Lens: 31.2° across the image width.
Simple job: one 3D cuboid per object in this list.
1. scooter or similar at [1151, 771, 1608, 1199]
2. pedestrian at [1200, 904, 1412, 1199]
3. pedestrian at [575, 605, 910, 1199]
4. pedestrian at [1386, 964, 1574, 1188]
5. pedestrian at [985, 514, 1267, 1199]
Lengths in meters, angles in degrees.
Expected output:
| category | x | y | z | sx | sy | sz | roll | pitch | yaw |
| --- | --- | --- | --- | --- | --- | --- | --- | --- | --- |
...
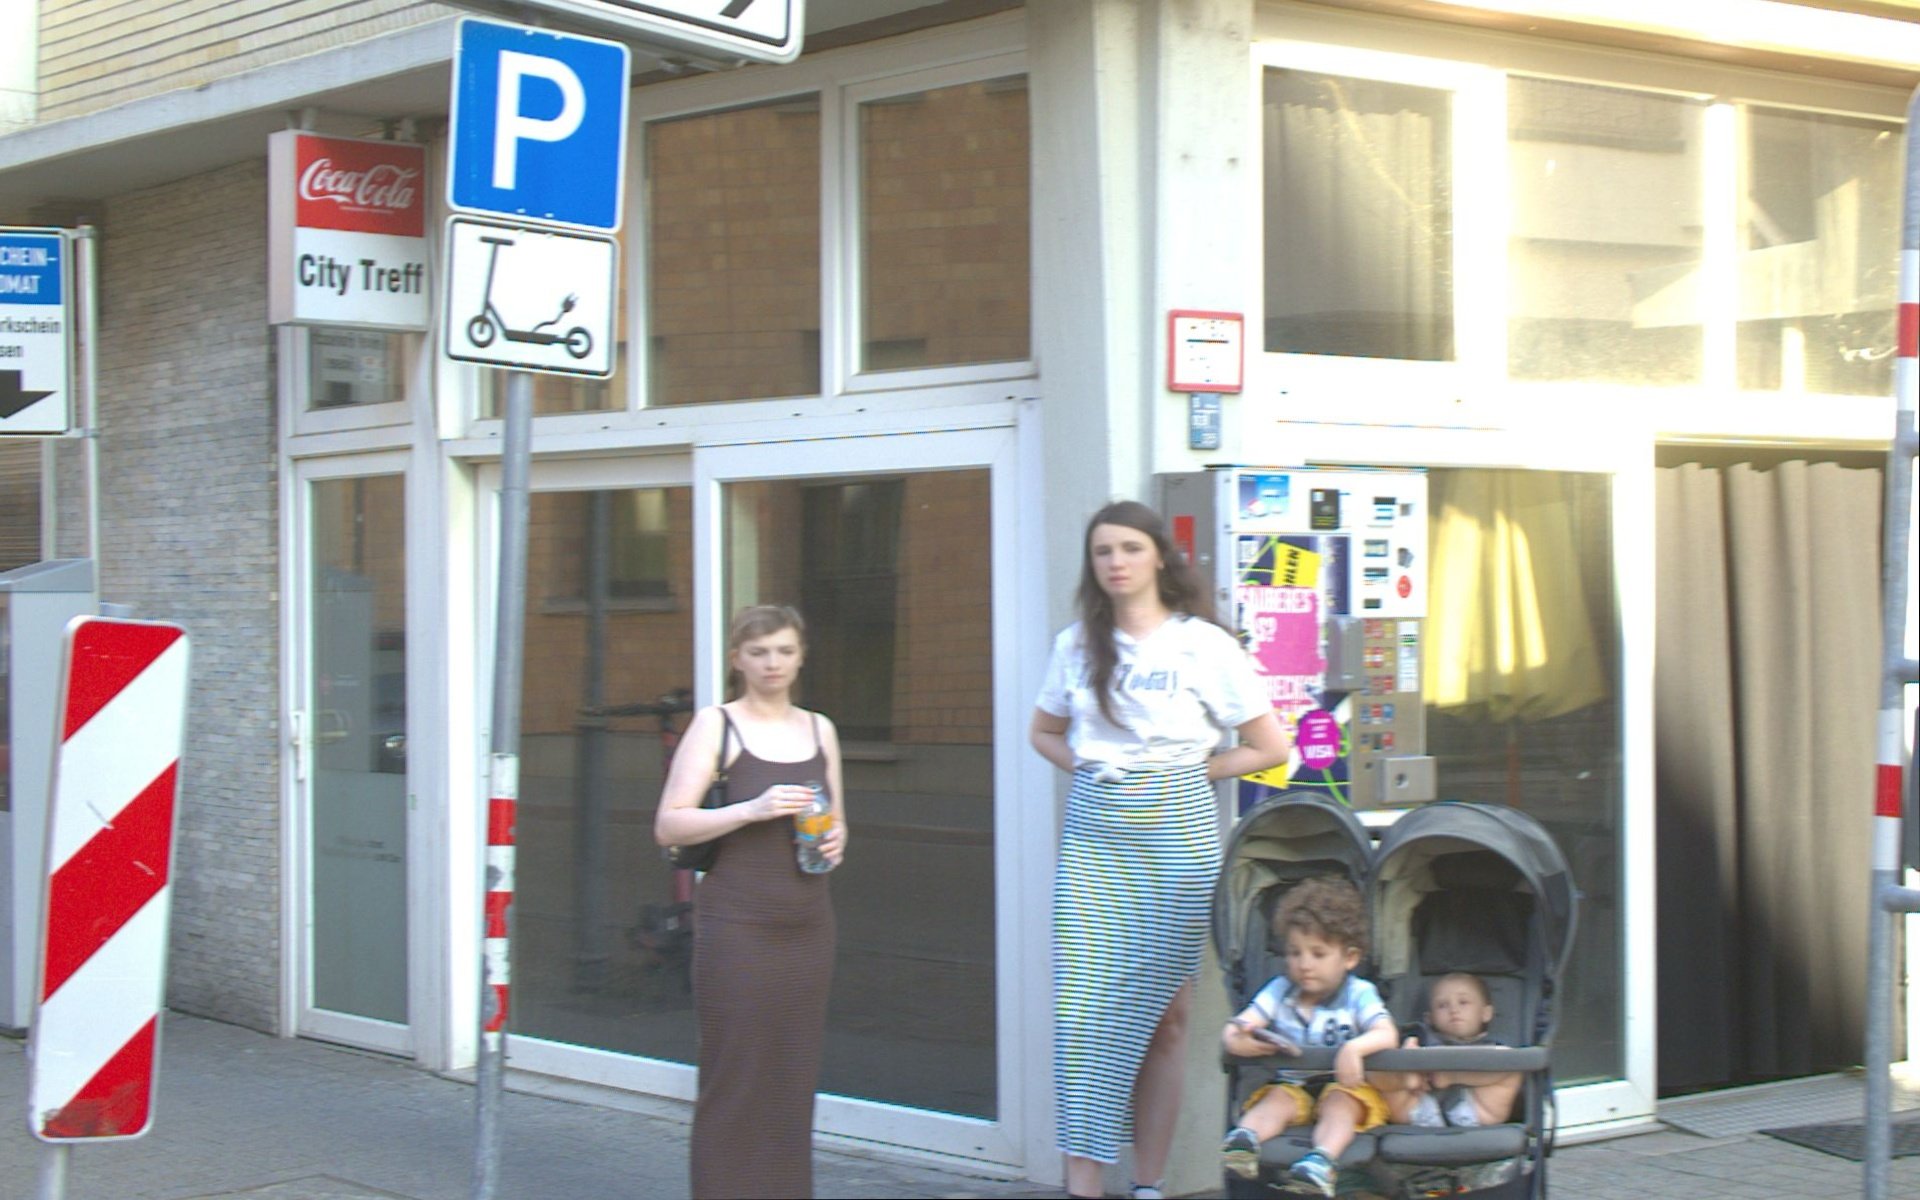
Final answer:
| category | x | y | z | sx | sy | sz | roll | pitch | yaw |
| --- | --- | --- | --- | --- | --- | --- | --- | --- | --- |
| scooter or similar | 0.844 | 0.984 | 7.113 | 0.869 | 1.172 | 1.045 | 0 | 2 | 5 |
| pedestrian | 0.710 | 0.959 | 6.993 | 0.331 | 0.631 | 0.509 | 0 | 0 | 18 |
| pedestrian | -0.490 | 0.793 | 7.772 | 0.572 | 1.535 | 0.441 | -3 | 2 | -29 |
| pedestrian | 1.057 | 0.958 | 6.966 | 0.331 | 0.397 | 0.312 | 0 | 0 | 18 |
| pedestrian | 0.398 | 0.672 | 8.019 | 0.625 | 1.730 | 0.622 | 0 | 0 | 6 |
